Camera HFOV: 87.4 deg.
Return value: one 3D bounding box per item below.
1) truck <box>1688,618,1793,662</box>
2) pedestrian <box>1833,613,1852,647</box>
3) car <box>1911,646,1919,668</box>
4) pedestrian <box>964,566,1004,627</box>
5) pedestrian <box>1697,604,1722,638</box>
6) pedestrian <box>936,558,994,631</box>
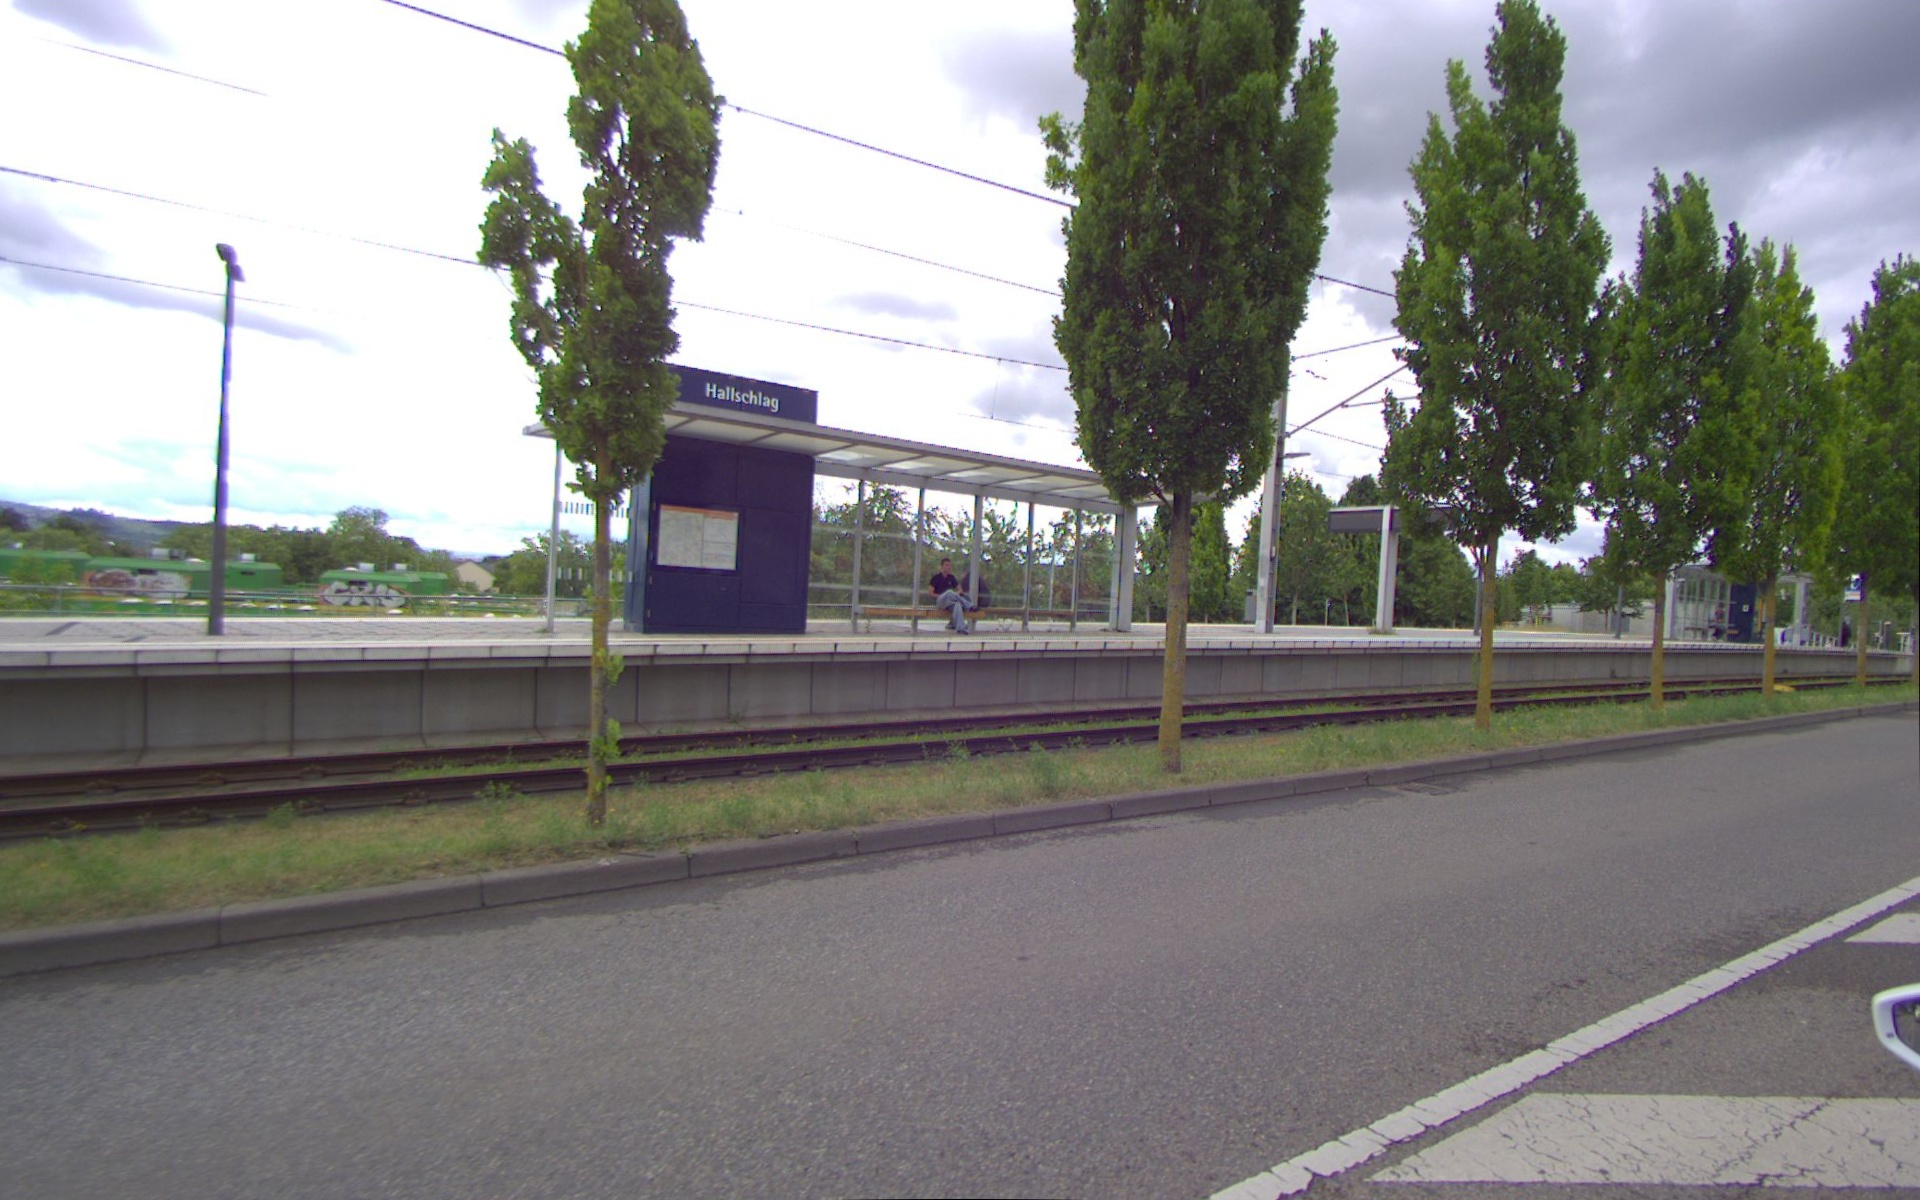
[{"bbox_3d":[71.987,3.603,92.818,2.659,3.647,7.207,0,1,-29],"label":"truck"},{"bbox_3d":[48.611,1.657,55.344,0.786,1.852,0.568,3,0,-37],"label":"pedestrian"},{"bbox_3d":[75.202,4.415,76.189,1.972,1.617,3.976,0,1,-24],"label":"car"},{"bbox_3d":[0.430,-0.063,18.349,0.465,1.093,0.603,0,1,-34],"label":"pedestrian"},{"bbox_3d":[28.643,0.784,38.396,0.654,1.286,0.605,-1,1,-38],"label":"pedestrian"},{"bbox_3d":[0.082,-0.089,17.094,0.658,1.215,0.756,1,0,-34],"label":"pedestrian"}]
